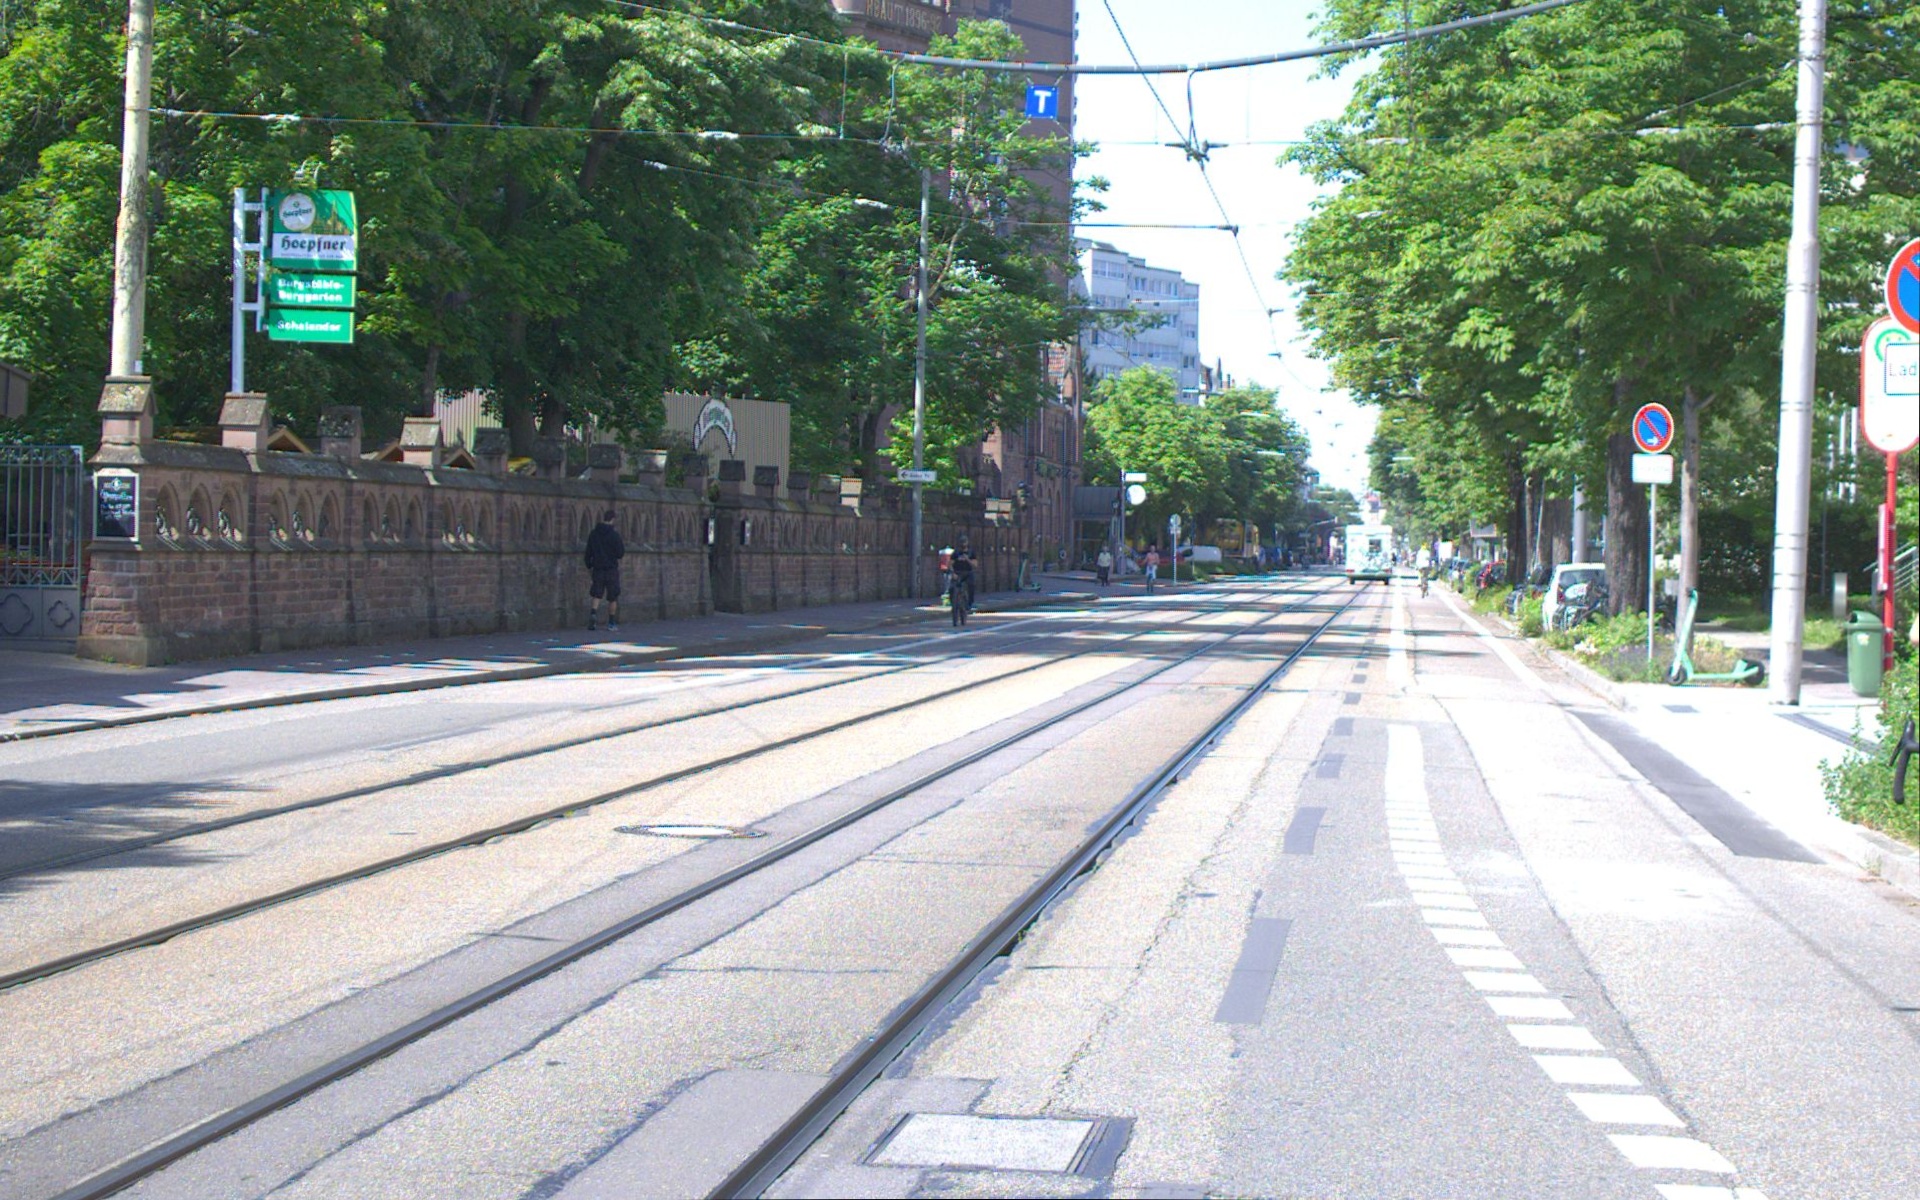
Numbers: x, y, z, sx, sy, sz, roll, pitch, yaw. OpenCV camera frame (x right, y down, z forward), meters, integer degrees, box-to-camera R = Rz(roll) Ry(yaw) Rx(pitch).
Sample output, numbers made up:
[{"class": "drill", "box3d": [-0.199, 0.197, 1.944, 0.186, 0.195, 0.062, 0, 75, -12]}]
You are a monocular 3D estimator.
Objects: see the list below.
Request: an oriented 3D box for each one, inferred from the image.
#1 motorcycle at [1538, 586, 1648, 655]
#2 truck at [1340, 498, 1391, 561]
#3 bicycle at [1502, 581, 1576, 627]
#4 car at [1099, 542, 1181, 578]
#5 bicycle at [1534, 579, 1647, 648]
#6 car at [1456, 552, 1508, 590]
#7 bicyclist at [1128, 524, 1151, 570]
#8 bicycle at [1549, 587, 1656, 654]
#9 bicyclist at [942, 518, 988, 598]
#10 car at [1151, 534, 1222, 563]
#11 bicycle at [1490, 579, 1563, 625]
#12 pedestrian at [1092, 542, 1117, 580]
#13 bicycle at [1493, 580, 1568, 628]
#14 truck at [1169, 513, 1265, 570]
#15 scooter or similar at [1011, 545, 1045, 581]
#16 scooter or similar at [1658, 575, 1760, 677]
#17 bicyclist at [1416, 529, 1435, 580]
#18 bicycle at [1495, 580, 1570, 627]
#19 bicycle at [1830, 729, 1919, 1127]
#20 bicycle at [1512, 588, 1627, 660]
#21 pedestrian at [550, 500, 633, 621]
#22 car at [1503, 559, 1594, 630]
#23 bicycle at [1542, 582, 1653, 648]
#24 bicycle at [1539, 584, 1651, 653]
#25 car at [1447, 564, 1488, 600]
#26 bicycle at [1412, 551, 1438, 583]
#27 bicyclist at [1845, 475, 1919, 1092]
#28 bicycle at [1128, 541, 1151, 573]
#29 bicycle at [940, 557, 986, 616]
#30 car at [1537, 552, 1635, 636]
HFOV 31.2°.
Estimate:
[{"class": "motorcycle", "box3d": [10.429, 0.338, 56.691, 1.725, 1.082, 0.658, 1, 1, 7]}, {"class": "truck", "box3d": [20.553, -3.544, 174.122, 2.403, 3.098, 6.035, 2, 1, 7]}, {"class": "bicycle", "box3d": [14.045, 0.090, 83.420, 1.725, 1.082, 0.570, 1, 1, 7]}, {"class": "car", "box3d": [9.655, -2.131, 184.436, 3.986, 1.804, 1.890, 1, 1, -30]}, {"class": "bicycle", "box3d": [11.136, 0.230, 60.774, 1.904, 1.165, 0.819, 1, 1, 7]}, {"class": "car", "box3d": [18.983, -1.064, 125.094, 1.630, 1.350, 3.901, 1, 1, 5]}, {"class": "bicyclist", "box3d": [6.659, -1.957, 127.625, 0.725, 1.692, 1.146, 1, 1, 7]}, {"class": "bicycle", "box3d": [10.846, 0.335, 58.050, 1.725, 1.082, 0.639, 1, 1, 7]}, {"class": "bicyclist", "box3d": [0.095, -0.813, 67.098, 0.740, 1.525, 0.947, 1, 1, 8]}, {"class": "car", "box3d": [14.307, -3.237, 217.241, 3.986, 1.744, 2.001, 1, 1, -23]}, {"class": "bicycle", "box3d": [14.028, 0.047, 85.137, 1.725, 1.082, 0.615, 1, 1, 7]}, {"class": "pedestrian", "box3d": [5.792, -1.558, 137.729, 0.883, 1.507, 1.476, 1, 1, -1]}, {"class": "bicycle", "box3d": [13.636, 0.092, 82.227, 1.725, 1.082, 0.628, 1, 1, 7]}, {"class": "truck", "box3d": [18.408, -4.154, 245.618, 2.817, 3.846, 9.984, 2, 1, 29]}, {"class": "scooter or similar", "box3d": [2.176, -1.189, 109.659, 1.183, 1.125, 0.334, 1, 1, -44]}, {"class": "scooter or similar", "box3d": [8.887, 0.303, 40.824, 1.126, 1.162, 0.675, 1, 1, 10]}, {"class": "bicyclist", "box3d": [17.068, -1.677, 125.945, 0.636, 1.865, 1.024, 1, 1, 7]}, {"class": "bicycle", "box3d": [13.796, 0.075, 82.894, 1.725, 1.082, 0.696, 1, 1, 7]}, {"class": "bicycle", "box3d": [3.017, 0.937, 10.061, 0.609, 0.980, 2.163, 2, 1, 7]}, {"class": "bicycle", "box3d": [9.667, 0.373, 54.556, 1.725, 1.082, 0.789, 1, 1, 7]}, {"class": "pedestrian", "box3d": [-5.607, -0.608, 52.360, 0.977, 1.809, 1.184, 1, 1, 8]}, {"class": "car", "box3d": [13.086, -0.148, 76.645, 1.630, 1.478, 4.272, 1, 1, 5]}, {"class": "bicycle", "box3d": [10.922, 0.252, 58.933, 1.793, 1.082, 0.726, 1, 1, 7]}, {"class": "bicycle", "box3d": [10.979, 0.316, 59.459, 1.849, 1.128, 0.680, 1, 1, 7]}, {"class": "car", "box3d": [21.614, -0.790, 146.618, 1.630, 1.467, 4.112, 1, 1, 7]}, {"class": "bicycle", "box3d": [17.020, -1.206, 125.836, 0.856, 1.106, 2.139, 2, 1, 7]}, {"class": "bicyclist", "box3d": [3.044, 0.513, 10.022, 0.716, 1.718, 0.988, 2, 1, 6]}, {"class": "bicycle", "box3d": [6.665, -1.594, 127.640, 0.662, 1.150, 2.013, 2, 1, 8]}, {"class": "bicycle", "box3d": [0.068, -0.277, 66.924, 0.592, 1.102, 2.054, 2, 1, 8]}, {"class": "car", "box3d": [11.724, -0.139, 64.550, 1.630, 1.467, 3.629, 2, 1, 8]}]
